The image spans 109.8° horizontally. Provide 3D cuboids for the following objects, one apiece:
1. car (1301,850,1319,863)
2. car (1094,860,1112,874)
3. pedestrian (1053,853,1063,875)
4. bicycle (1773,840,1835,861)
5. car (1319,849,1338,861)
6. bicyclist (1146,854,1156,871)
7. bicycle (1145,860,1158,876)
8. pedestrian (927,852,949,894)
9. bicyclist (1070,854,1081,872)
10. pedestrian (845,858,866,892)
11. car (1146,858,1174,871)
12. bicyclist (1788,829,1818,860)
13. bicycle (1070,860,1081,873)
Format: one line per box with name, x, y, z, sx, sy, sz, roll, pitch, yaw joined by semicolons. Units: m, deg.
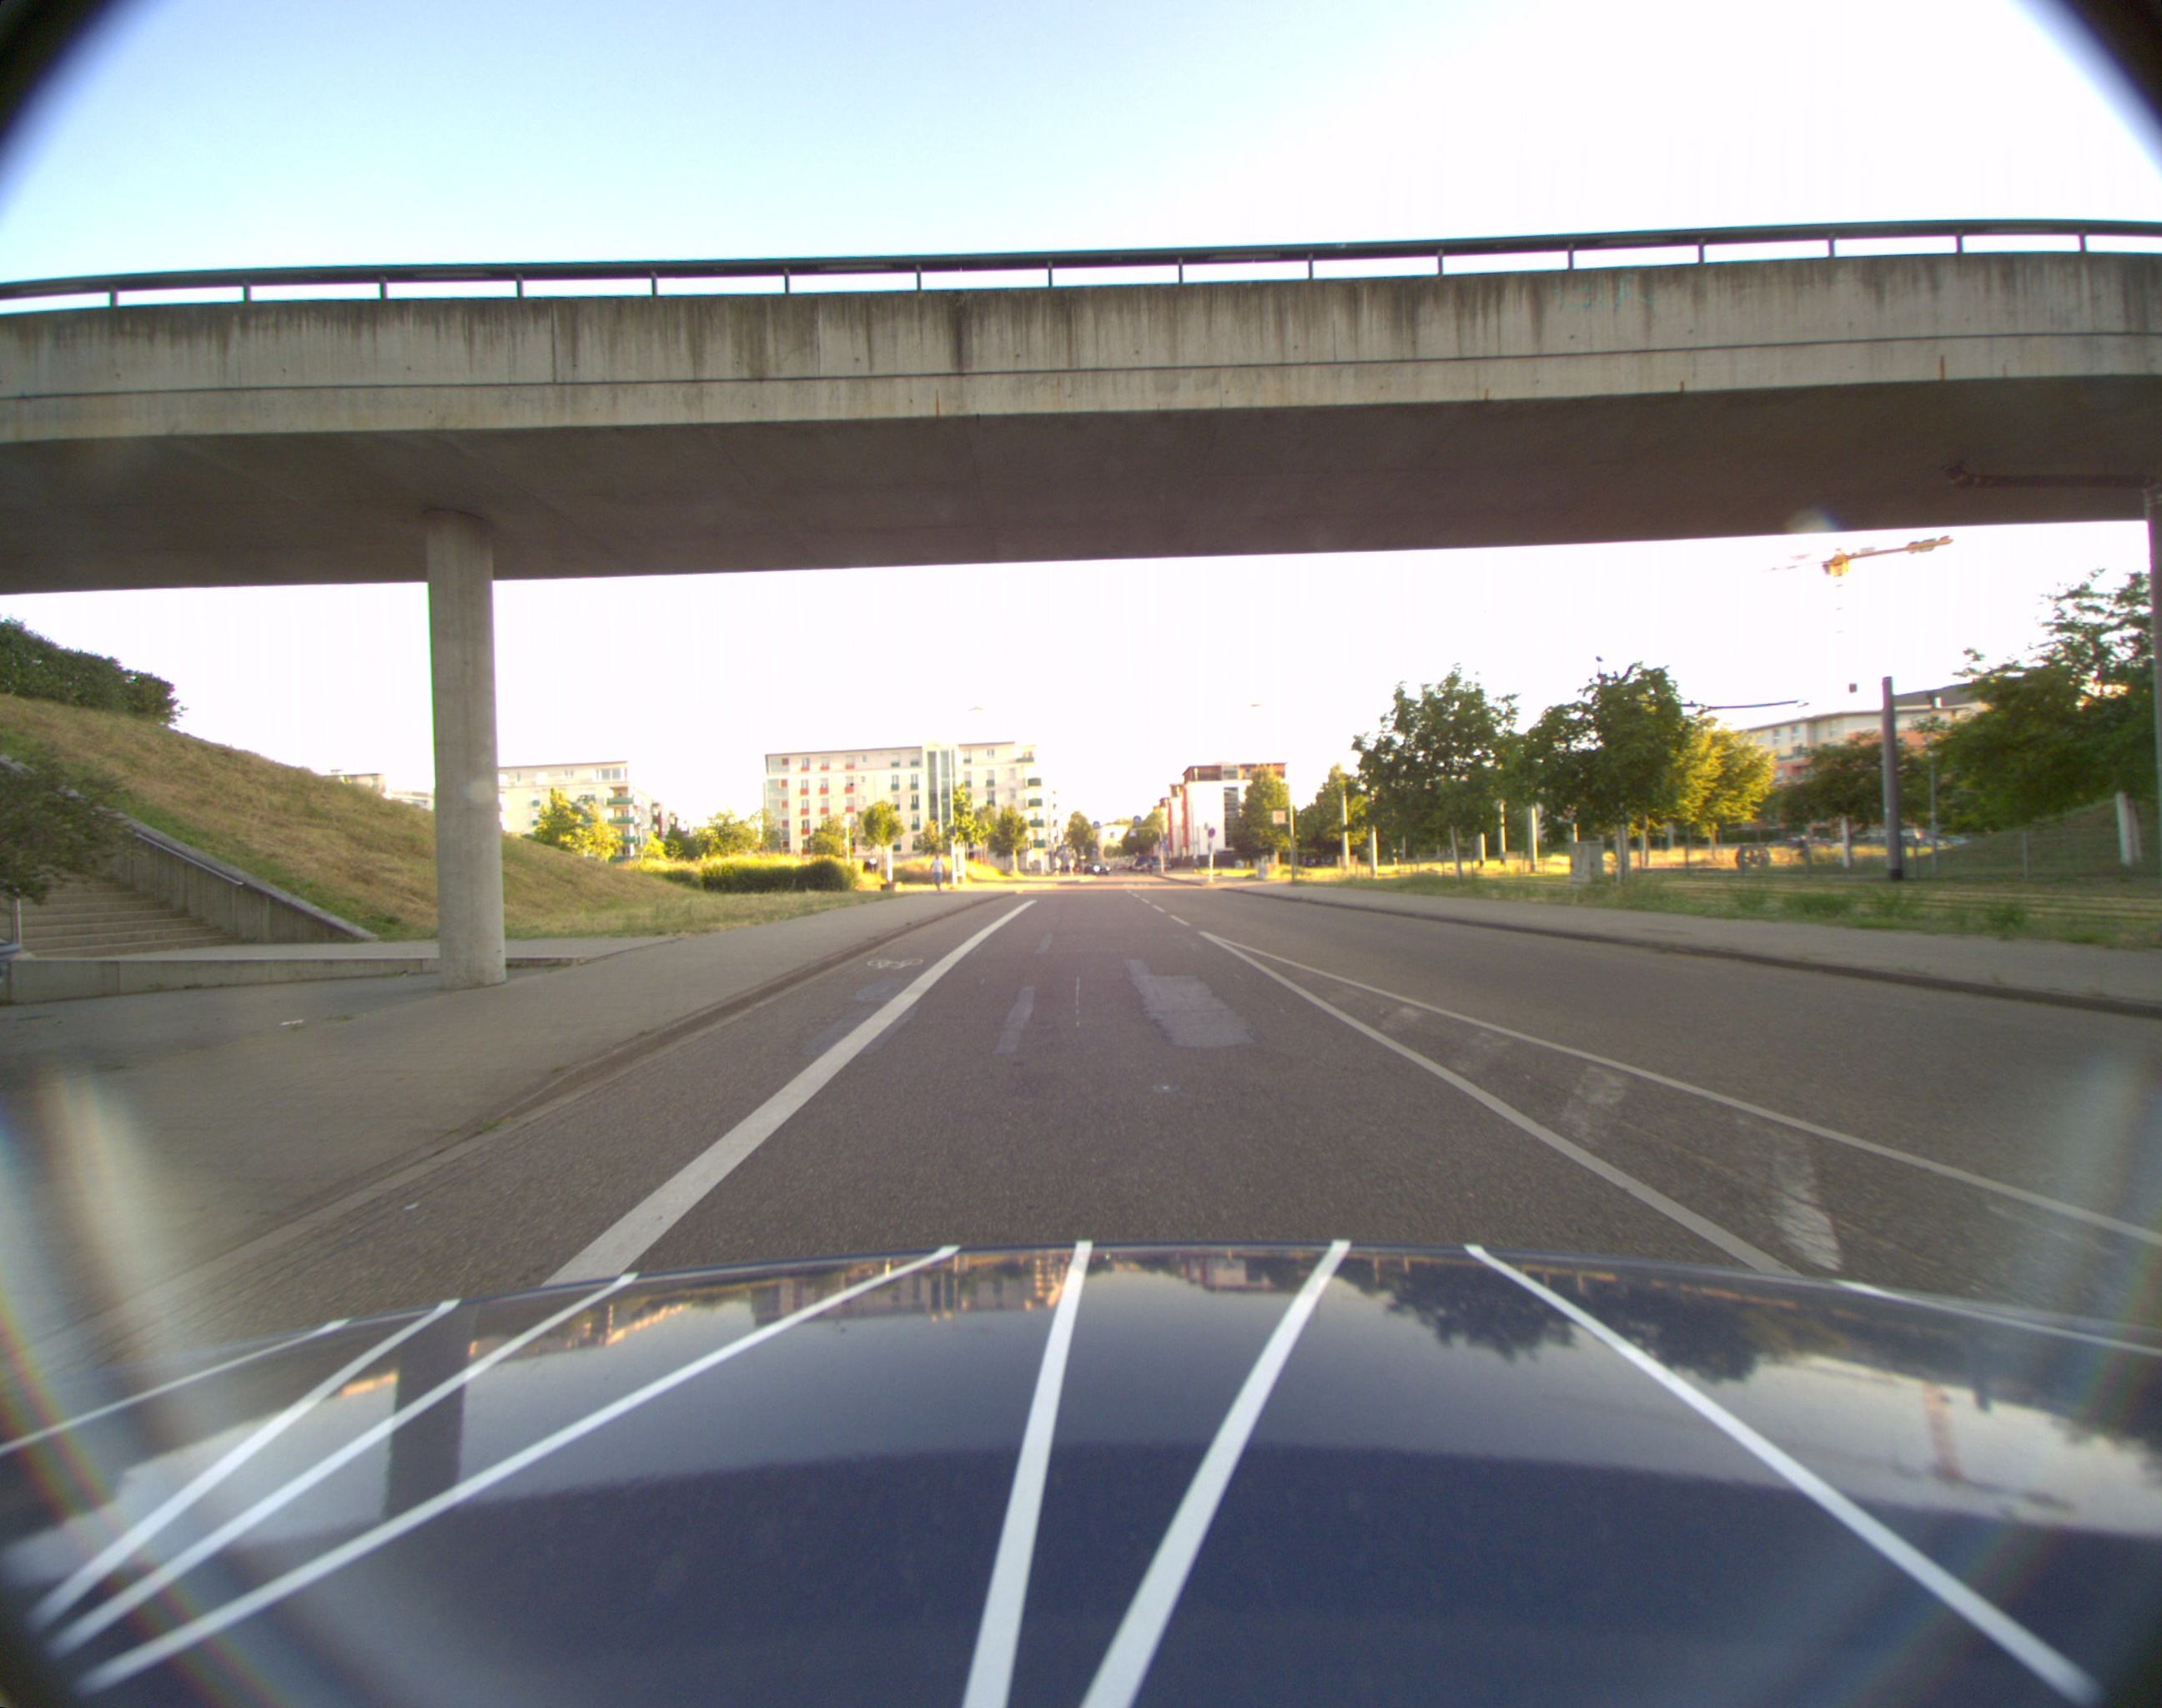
car;28.948;0.262;96.207;1.942;1.521;4.004;-2;0;14
car;2.324;1.372;81.149;1.739;1.455;4.000;-2;0;1
pedestrian;-1.865;0.794;61.287;0.737;1.714;0.532;0;0;1
bicycle;38.924;-0.176;40.927;2.842;1.002;0.655;-2;0;-4
car;31.221;0.113;95.919;1.942;1.521;4.004;-2;0;14
bicyclist;7.176;0.873;78.053;0.858;1.653;0.920;-2;0;0
bicycle;7.239;1.403;78.172;1.018;1.560;3.543;-2;0;1
pedestrian;-5.863;0.765;31.181;0.737;1.714;0.906;0;0;1
bicyclist;-0.484;0.823;69.422;0.932;1.585;1.068;-2;0;-1
pedestrian;-10.838;0.987;36.582;0.737;1.620;0.859;0;0;2
car;11.757;1.569;113.001;3.996;1.718;2.000;-2;0;2
bicyclist;38.917;-0.507;40.960;0.909;1.622;0.717;-2;0;-3
bicycle;-0.506;1.130;70.030;0.900;1.142;3.498;-2;0;-3
